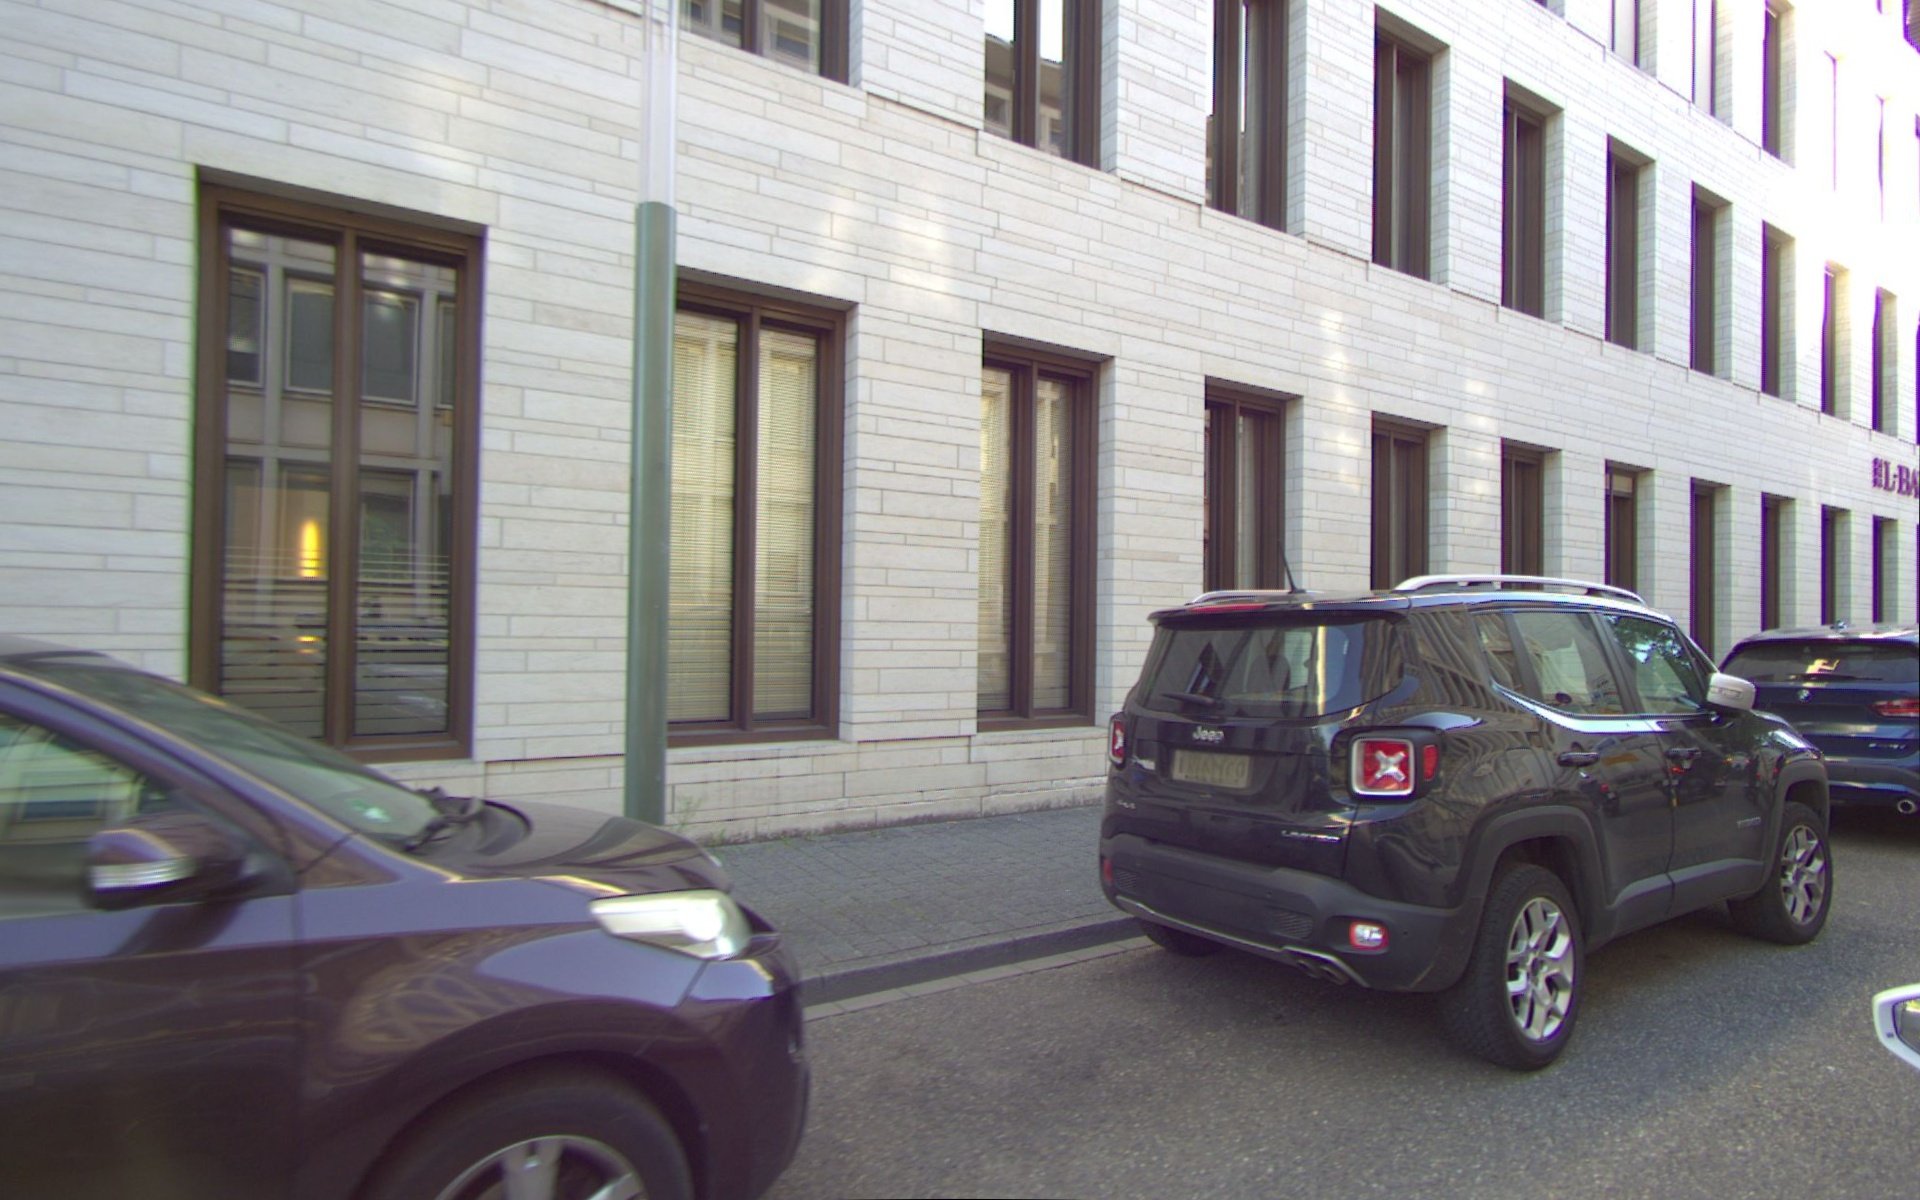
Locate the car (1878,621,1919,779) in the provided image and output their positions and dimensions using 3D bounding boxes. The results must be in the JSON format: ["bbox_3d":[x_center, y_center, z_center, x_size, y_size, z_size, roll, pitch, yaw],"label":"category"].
[{"bbox_3d":[12.401,1.080,11.417,4.216,1.699,1.813,1,-3,-32],"label":"car"}]

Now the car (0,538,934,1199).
[{"bbox_3d":[-2.308,0.695,1.847,4.218,1.562,1.812,1,-1,-33],"label":"car"}]

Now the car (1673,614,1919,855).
[{"bbox_3d":[7.850,0.971,8.345,4.109,1.615,1.730,1,-3,-33],"label":"car"}]

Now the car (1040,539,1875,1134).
[{"bbox_3d":[2.512,0.771,4.825,3.975,1.737,1.812,1,-3,-33],"label":"car"}]
